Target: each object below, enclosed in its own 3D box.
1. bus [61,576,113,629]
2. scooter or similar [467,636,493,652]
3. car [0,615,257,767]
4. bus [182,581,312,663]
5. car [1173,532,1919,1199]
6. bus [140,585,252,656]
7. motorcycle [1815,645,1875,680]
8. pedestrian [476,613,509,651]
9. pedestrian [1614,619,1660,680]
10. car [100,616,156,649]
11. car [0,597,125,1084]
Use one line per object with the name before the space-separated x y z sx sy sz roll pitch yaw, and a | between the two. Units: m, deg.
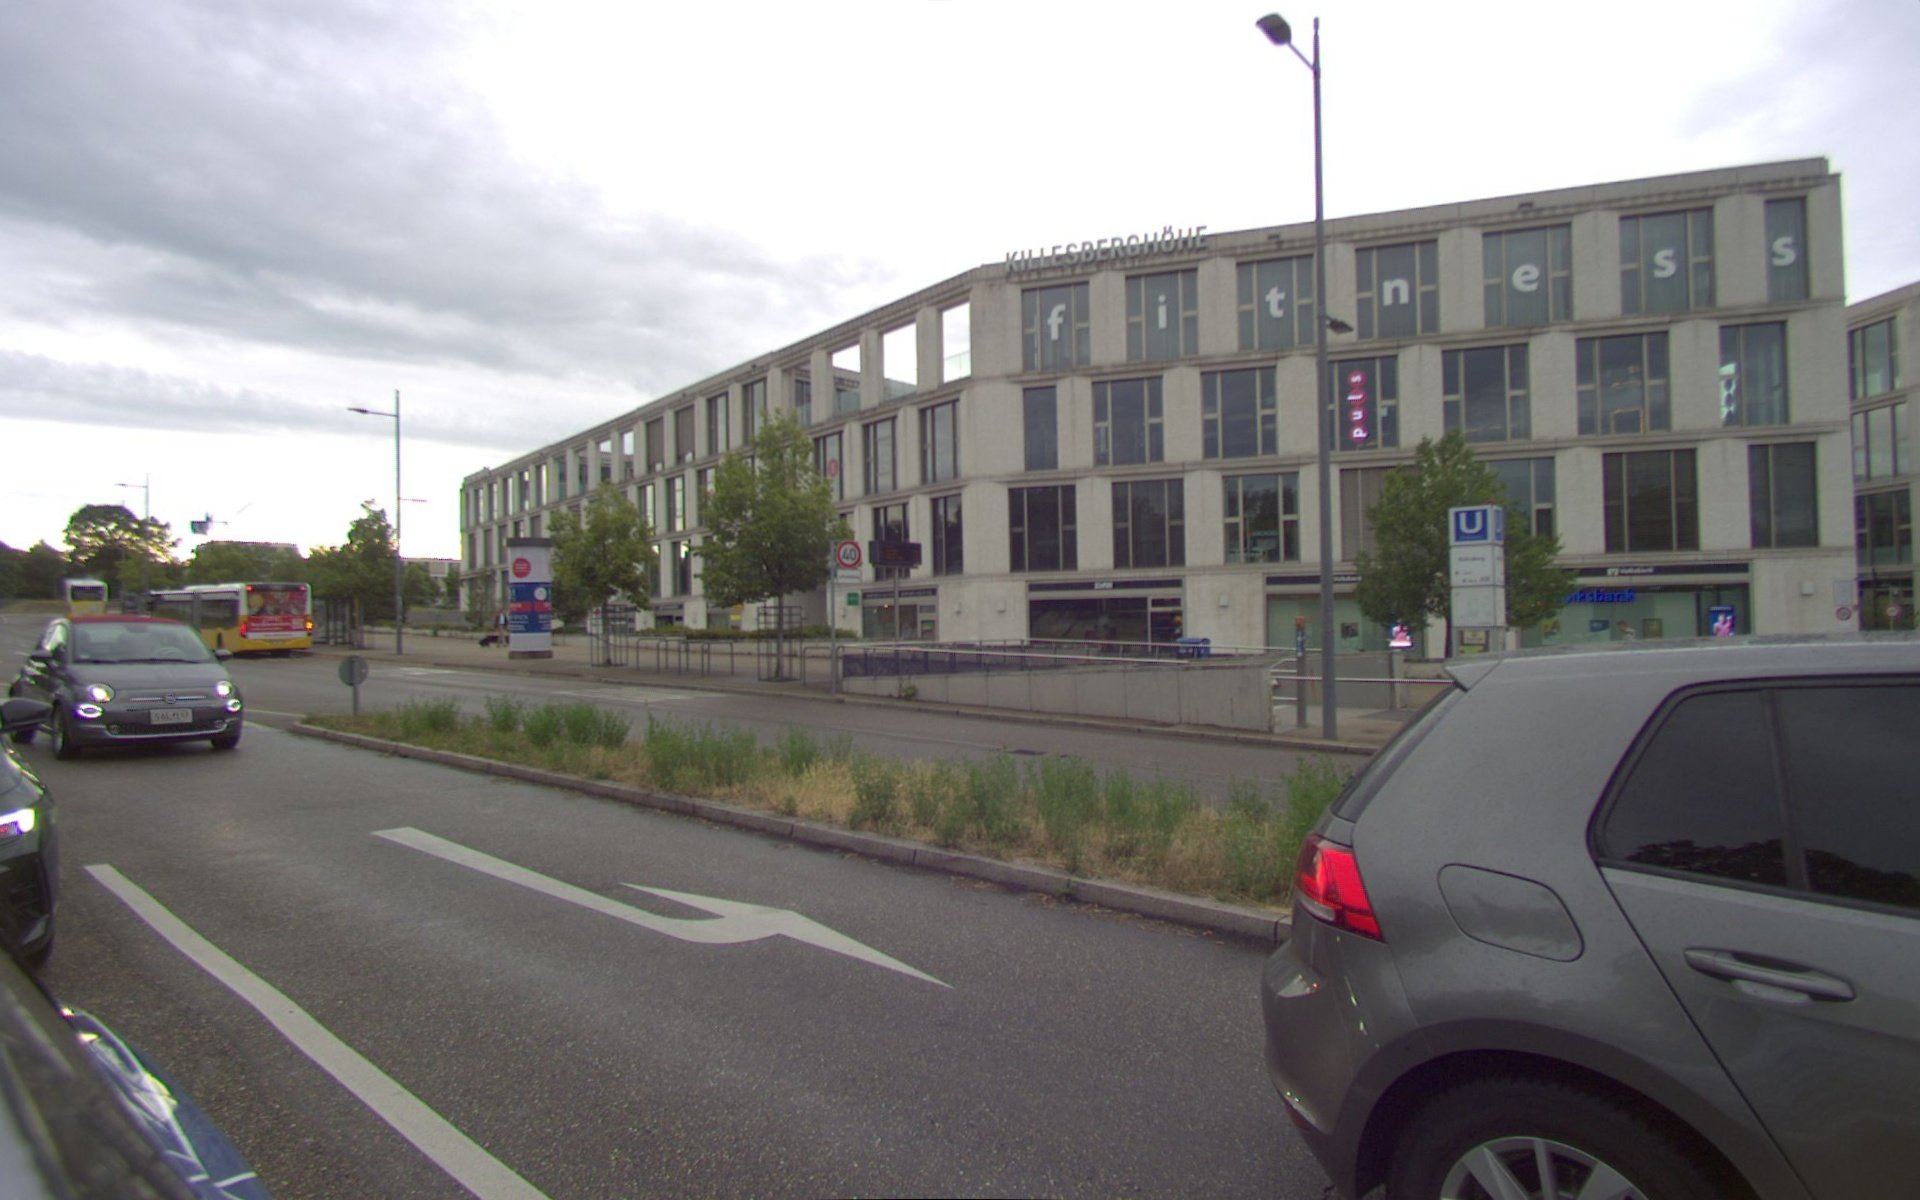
bus | -76.392 0.242 88.807 2.717 4.185 19.383 -1 0 -39
scooter or similar | -20.736 1.902 43.740 0.829 0.656 0.635 -1 -1 27
car | -9.685 0.927 11.676 3.501 1.492 1.611 -1 -1 38
bus | -31.128 0.907 43.976 9.206 3.236 2.723 -1 0 43
car | 2.688 0.649 1.414 4.374 1.492 1.797 -1 -2 41
bus | -38.154 0.974 50.383 9.911 3.205 2.658 -1 0 42
motorcycle | 20.435 1.434 23.384 0.517 0.746 1.098 -1 0 9
pedestrian | -20.273 1.379 43.894 0.980 1.593 0.858 -1 0 31
pedestrian | 18.170 1.313 27.186 0.910 1.617 0.757 -1 -1 26
car | -47.211 1.819 57.426 3.998 1.800 1.843 -1 0 41
car | -5.129 0.759 4.161 4.766 1.476 1.877 -1 0 41
